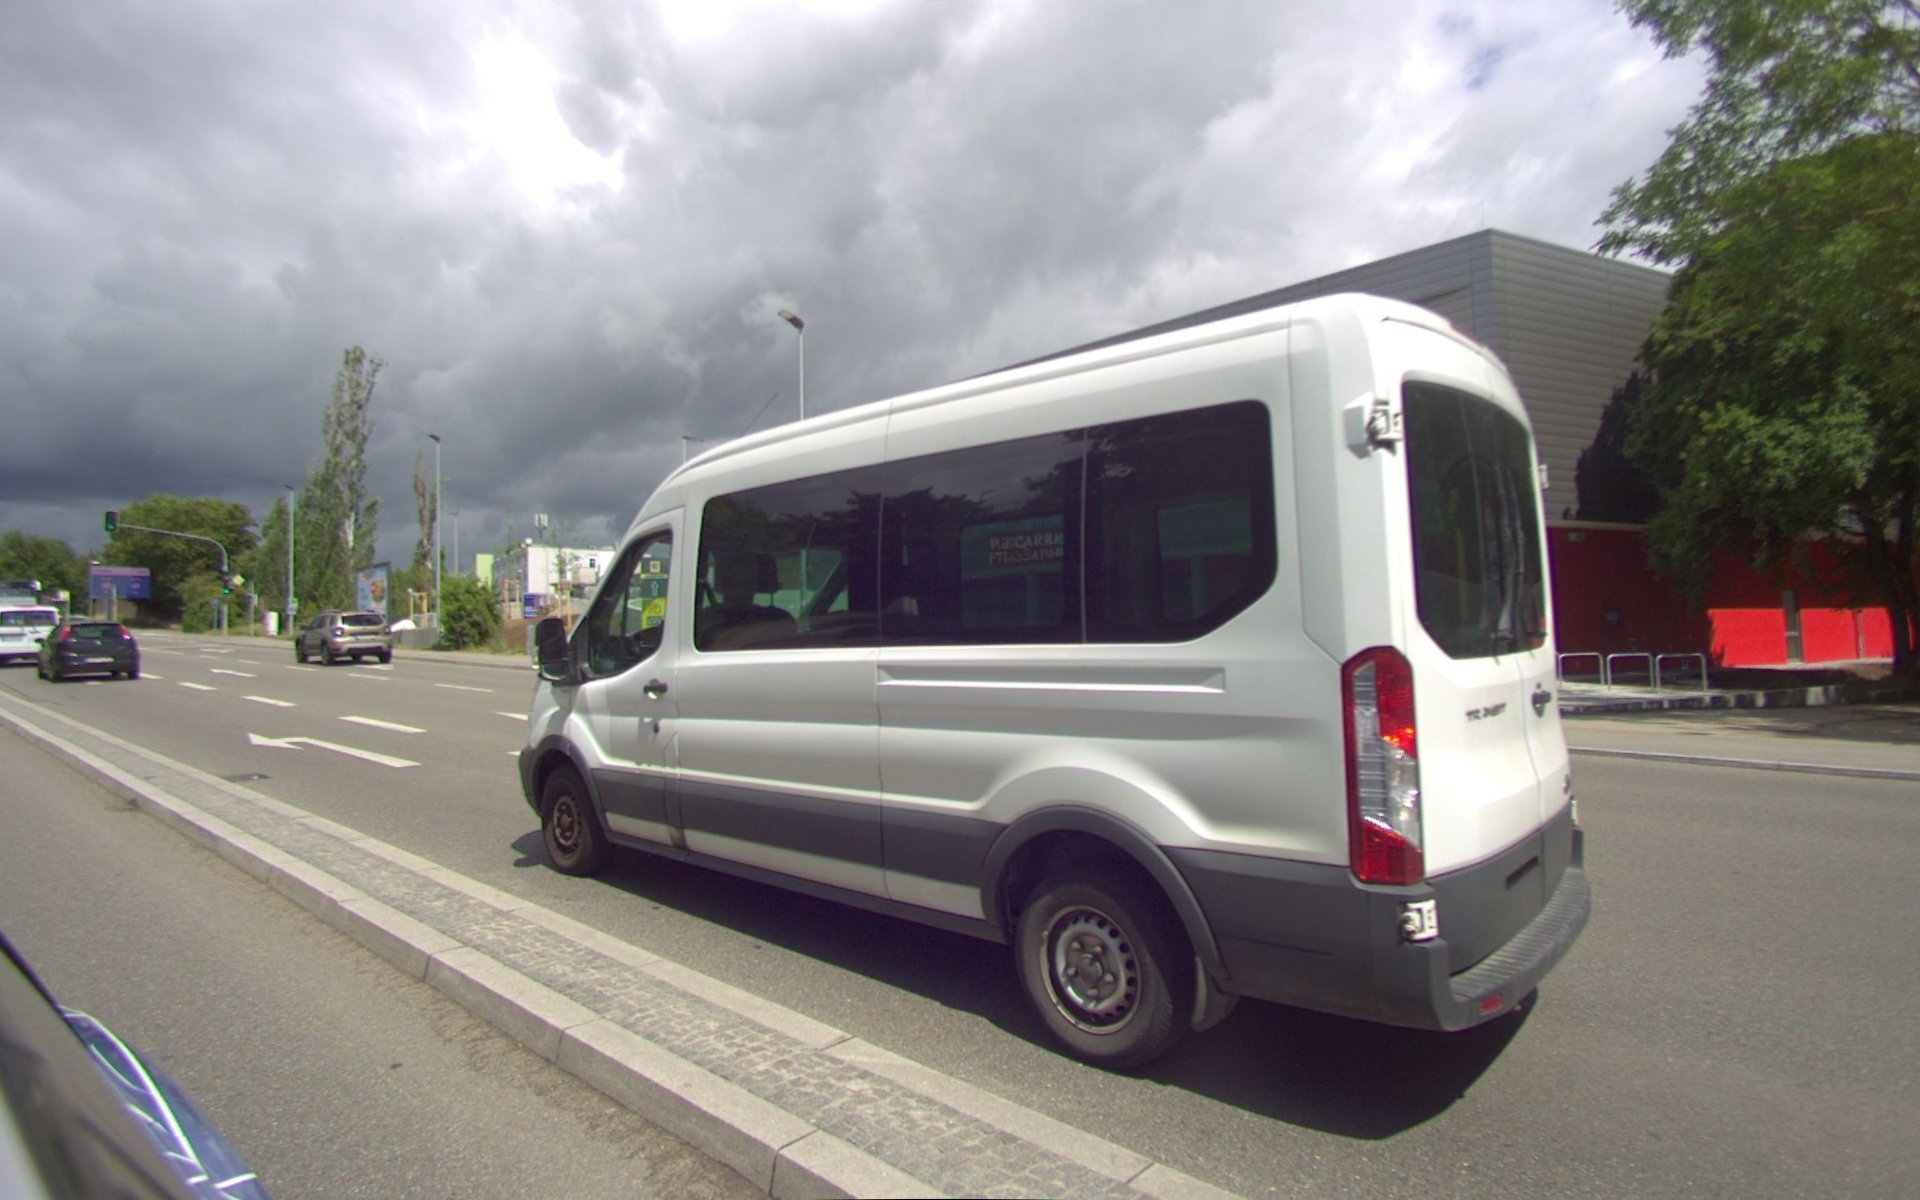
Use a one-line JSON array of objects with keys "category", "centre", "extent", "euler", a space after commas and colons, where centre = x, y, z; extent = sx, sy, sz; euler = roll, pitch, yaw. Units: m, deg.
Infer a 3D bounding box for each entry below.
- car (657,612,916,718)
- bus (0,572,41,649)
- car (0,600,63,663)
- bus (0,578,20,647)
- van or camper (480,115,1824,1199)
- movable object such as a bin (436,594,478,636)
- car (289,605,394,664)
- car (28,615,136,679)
[{"category": "car", "centre": [-2.919, 0.941, 16.360], "extent": [4.558, 1.467, 1.712], "euler": [-1, -1, 43]}, {"category": "bus", "centre": [-43.050, 0.549, 44.800], "extent": [8.907, 3.188, 2.785], "euler": [-2, -2, 43]}, {"category": "car", "centre": [-30.548, 1.017, 32.711], "extent": [4.750, 1.939, 1.857], "euler": [-2, -2, 42]}, {"category": "bus", "centre": [-50.028, 0.652, 51.287], "extent": [10.120, 3.310, 2.785], "euler": [-1, -1, 43]}, {"category": "van or camper", "centre": [-0.032, 0.286, 4.967], "extent": [6.398, 2.419, 1.986], "euler": [-1, -2, 43]}, {"category": "movable object such as a bin", "centre": [-31.500, 0.975, 63.338], "extent": [2.116, 2.557, 3.425], "euler": [1, -2, -30]}, {"category": "car", "centre": [-19.428, 1.031, 31.706], "extent": [4.271, 1.726, 1.712], "euler": [-1, -1, 43]}, {"category": "car", "centre": [-21.951, 1.138, 25.261], "extent": [3.775, 1.482, 1.619], "euler": [-2, -2, 42]}]
